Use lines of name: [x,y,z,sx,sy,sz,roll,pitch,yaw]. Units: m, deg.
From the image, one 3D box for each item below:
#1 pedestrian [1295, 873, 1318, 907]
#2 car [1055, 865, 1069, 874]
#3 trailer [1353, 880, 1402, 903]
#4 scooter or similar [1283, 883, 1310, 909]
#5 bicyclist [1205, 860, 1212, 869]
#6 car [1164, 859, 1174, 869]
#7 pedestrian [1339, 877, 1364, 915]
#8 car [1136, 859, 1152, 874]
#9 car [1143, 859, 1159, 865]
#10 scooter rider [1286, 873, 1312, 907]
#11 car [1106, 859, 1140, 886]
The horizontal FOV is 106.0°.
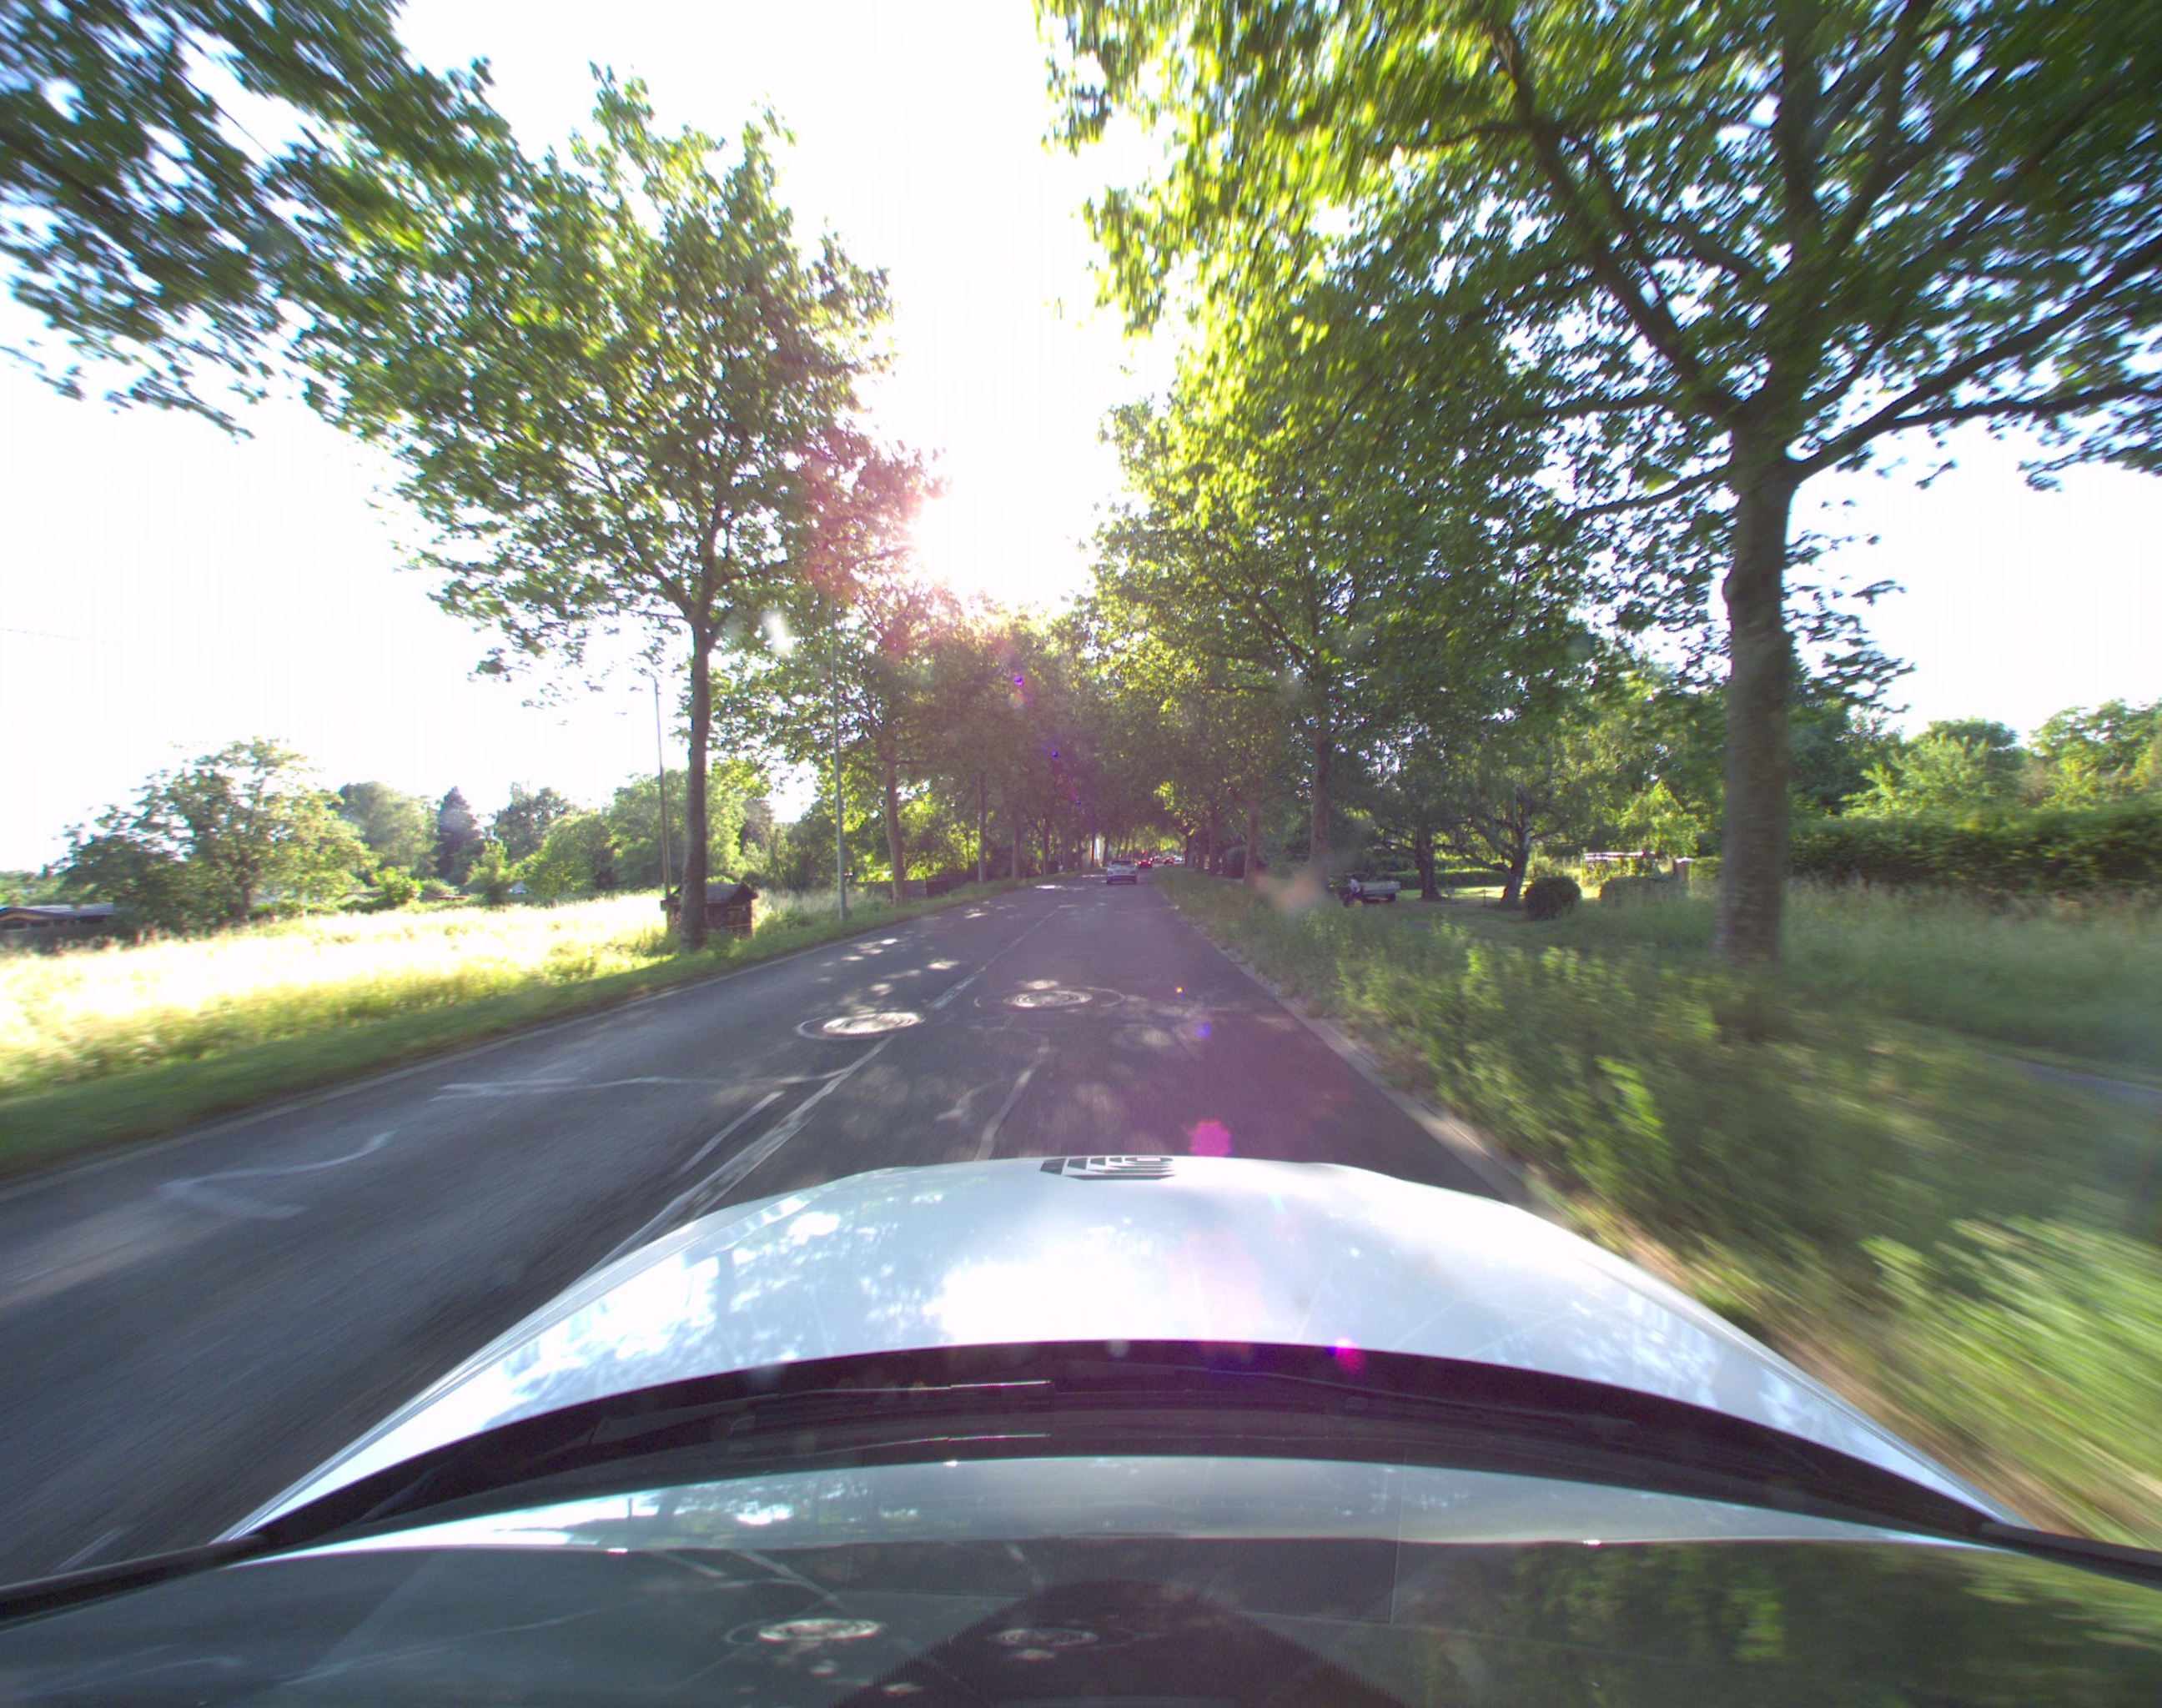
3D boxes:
pedestrian: [10.823,1.717,39.080,0.774,1.576,0.850,-2,-2,33]
car: [-2.836,2.338,123.414,1.744,1.304,4.005,-3,0,4]
trailer: [14.990,1.891,41.237,2.106,1.052,1.203,-1,-1,7]
scooter or similar: [10.067,1.938,37.977,1.608,1.135,0.337,0,-2,-41]
bicyclist: [18.717,1.541,119.364,0.733,1.366,0.769,-1,-1,-6]
car: [18.271,2.024,169.333,1.983,2.014,4.007,-1,-1,6]
pedestrian: [11.556,1.797,34.873,0.837,1.576,1.210,-1,-1,11]
car: [8.664,1.776,111.947,1.984,2.014,4.006,-1,-1,5]
car: [17.907,1.980,208.228,3.962,1.478,2.006,-1,-1,10]
scooter rider: [10.174,1.670,38.007,0.849,1.576,0.775,0,-2,-41]
car: [2.592,1.134,50.145,1.985,1.574,4.004,-1,-1,4]
